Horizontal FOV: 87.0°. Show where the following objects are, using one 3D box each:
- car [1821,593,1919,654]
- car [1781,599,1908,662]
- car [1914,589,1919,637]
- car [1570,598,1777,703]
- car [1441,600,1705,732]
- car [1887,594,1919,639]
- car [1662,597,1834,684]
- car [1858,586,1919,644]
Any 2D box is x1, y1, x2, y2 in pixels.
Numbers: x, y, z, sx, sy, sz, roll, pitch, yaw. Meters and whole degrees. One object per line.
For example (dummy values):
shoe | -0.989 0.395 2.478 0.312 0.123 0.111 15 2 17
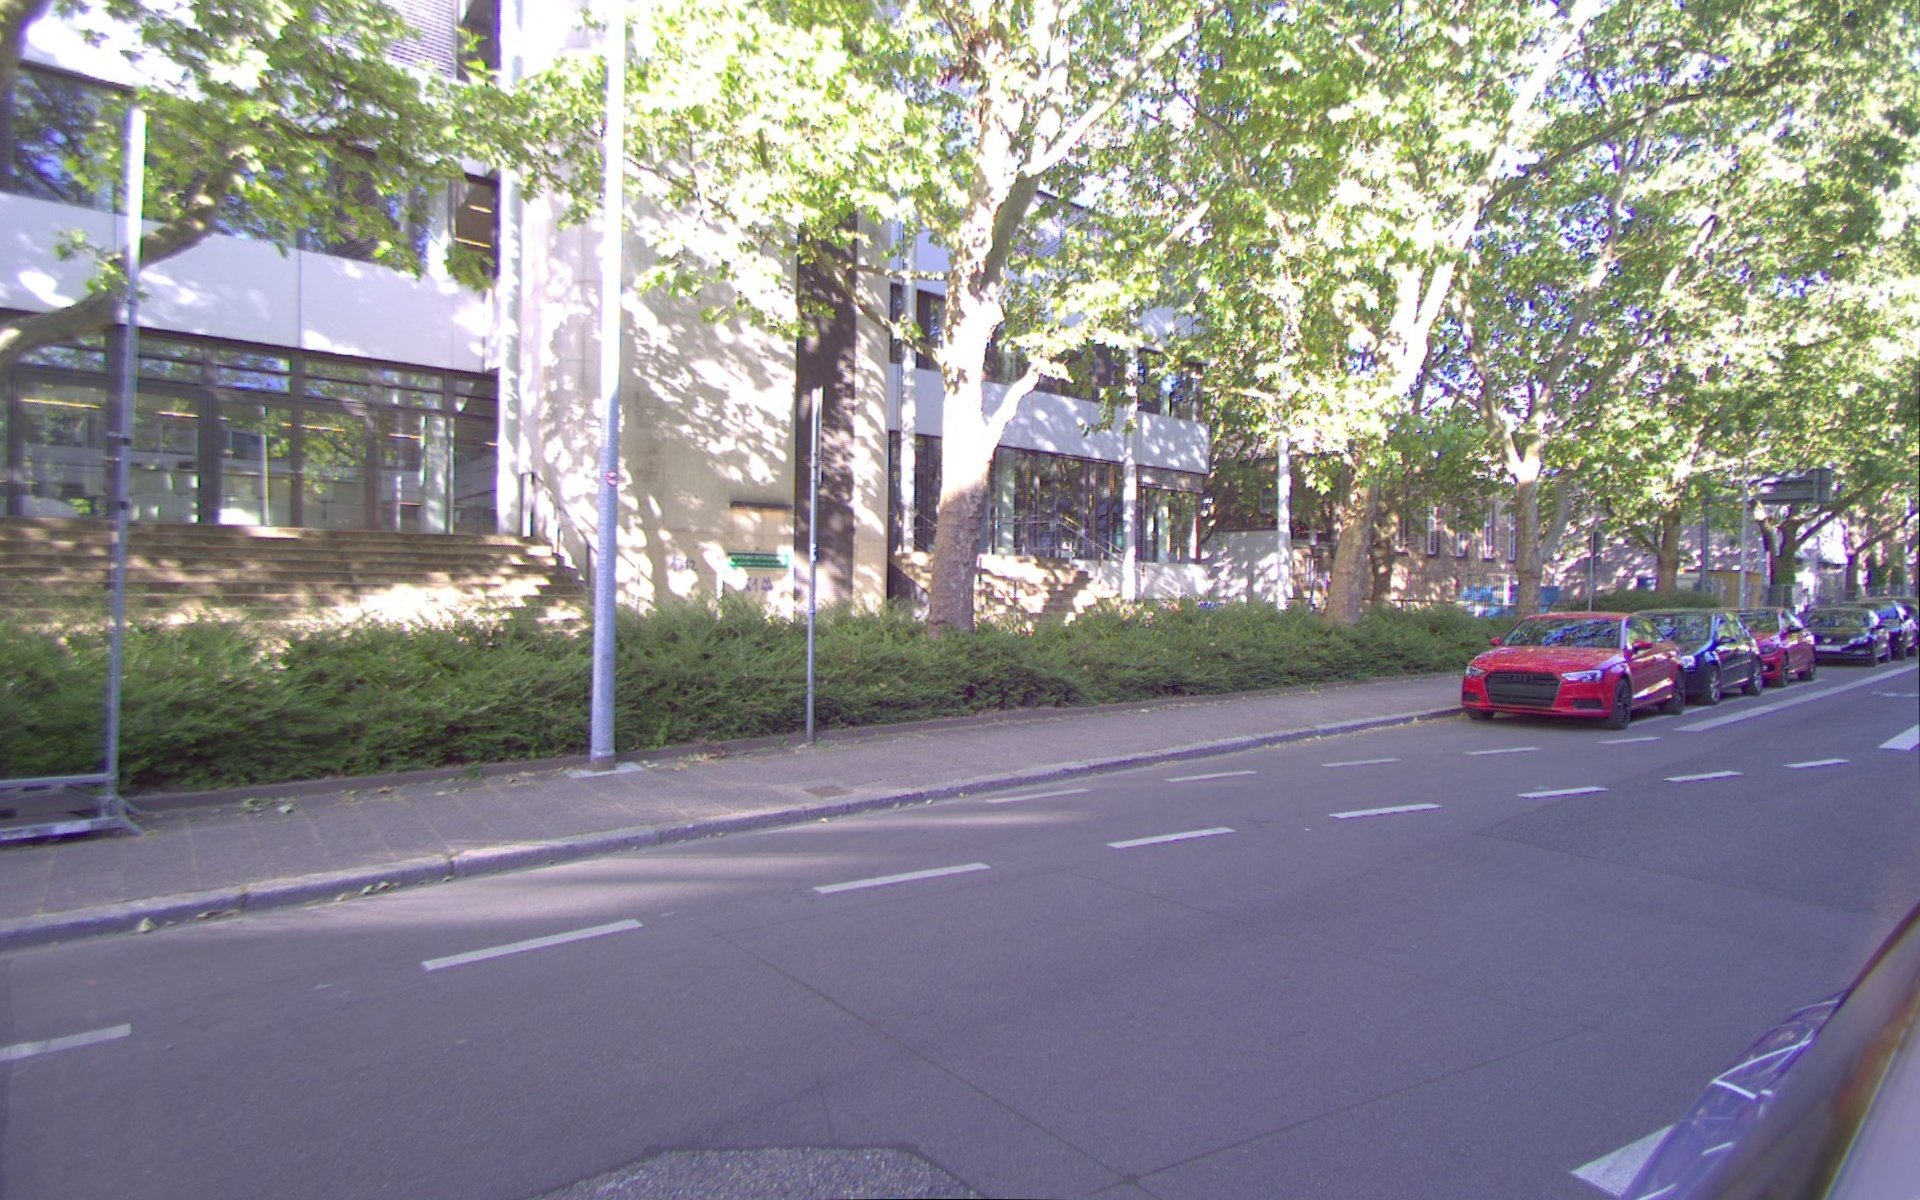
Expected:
car | 26.532 0.610 29.180 4.070 1.621 1.997 -1 0 -41
car | 22.810 0.725 26.062 3.527 1.474 1.997 -1 1 -41
car | 39.652 0.486 40.336 3.930 1.872 1.997 -1 0 -41
car | 11.770 0.729 16.636 3.581 1.478 1.997 -1 1 -41
car | 8.267 0.752 13.525 3.930 1.443 1.906 -1 1 -41
car | 35.939 0.596 37.442 4.070 1.585 1.997 -1 0 -41
car | 15.653 0.719 20.051 3.762 1.517 1.997 -1 1 -41
car | 31.274 0.451 33.312 4.493 1.809 1.997 -1 0 -41
